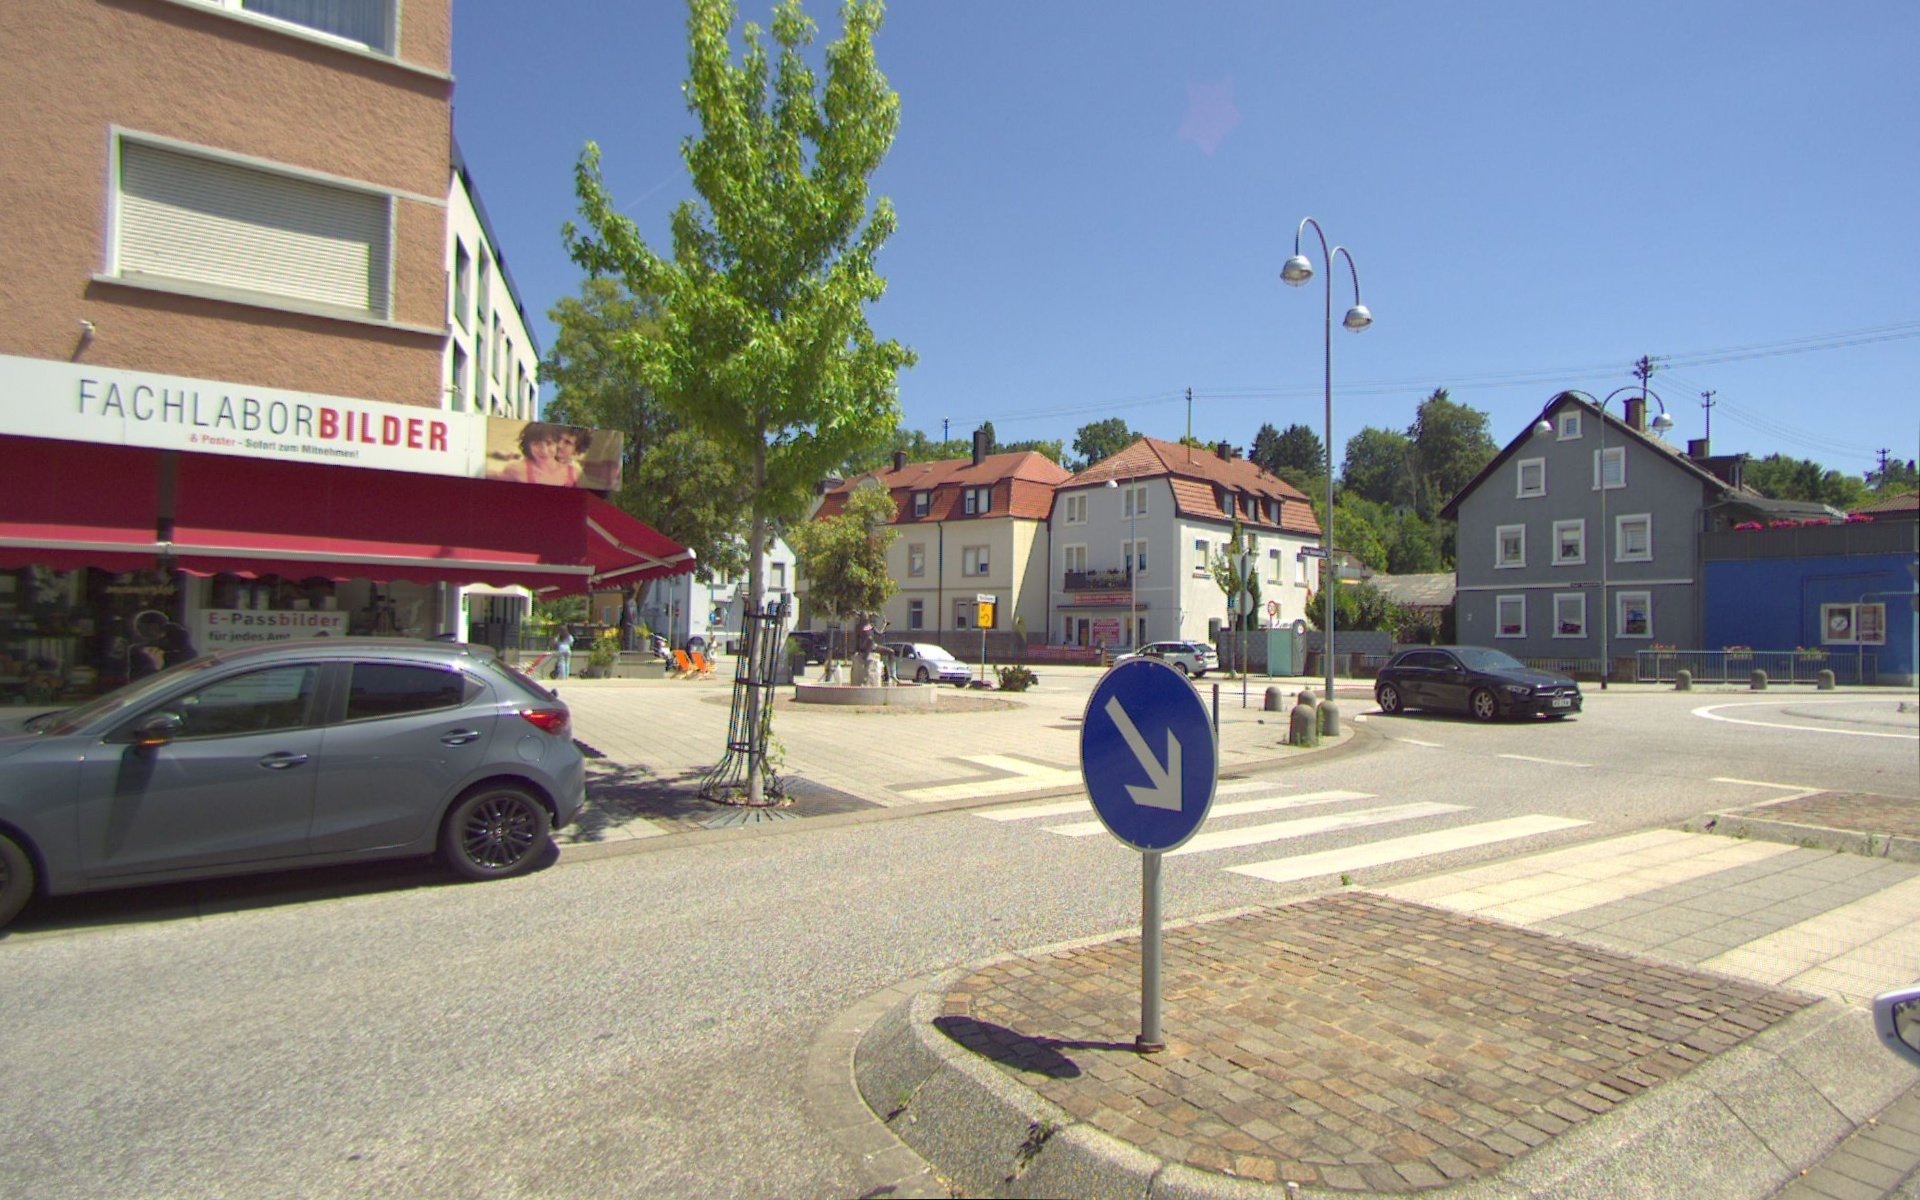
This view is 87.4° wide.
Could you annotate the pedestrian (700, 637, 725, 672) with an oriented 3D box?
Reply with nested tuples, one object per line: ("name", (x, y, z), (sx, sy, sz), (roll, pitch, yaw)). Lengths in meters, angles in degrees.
("pedestrian", (-11.754, 2.573, 47.707), (0.940, 1.670, 0.812), (1, -2, -30))

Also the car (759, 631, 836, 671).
("car", (-9.096, 2.816, 56.199), (3.931, 2.040, 1.995), (1, -1, 32))

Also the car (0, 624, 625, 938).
("car", (-4.396, 0.948, 6.318), (4.021, 1.506, 1.655), (2, 0, -36))

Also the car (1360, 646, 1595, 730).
("car", (10.262, 1.683, 20.353), (1.739, 1.476, 4.426), (1, -2, -14))

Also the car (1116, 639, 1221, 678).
("car", (8.622, 2.397, 41.747), (4.020, 1.410, 1.600), (-1, 0, 42))

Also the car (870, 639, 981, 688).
("car", (-1.217, 2.121, 34.144), (1.782, 1.544, 3.955), (2, -3, -39))

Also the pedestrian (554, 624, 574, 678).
("pedestrian", (-12.146, 1.570, 30.803), (0.445, 1.640, 0.446), (1, -2, -34))
